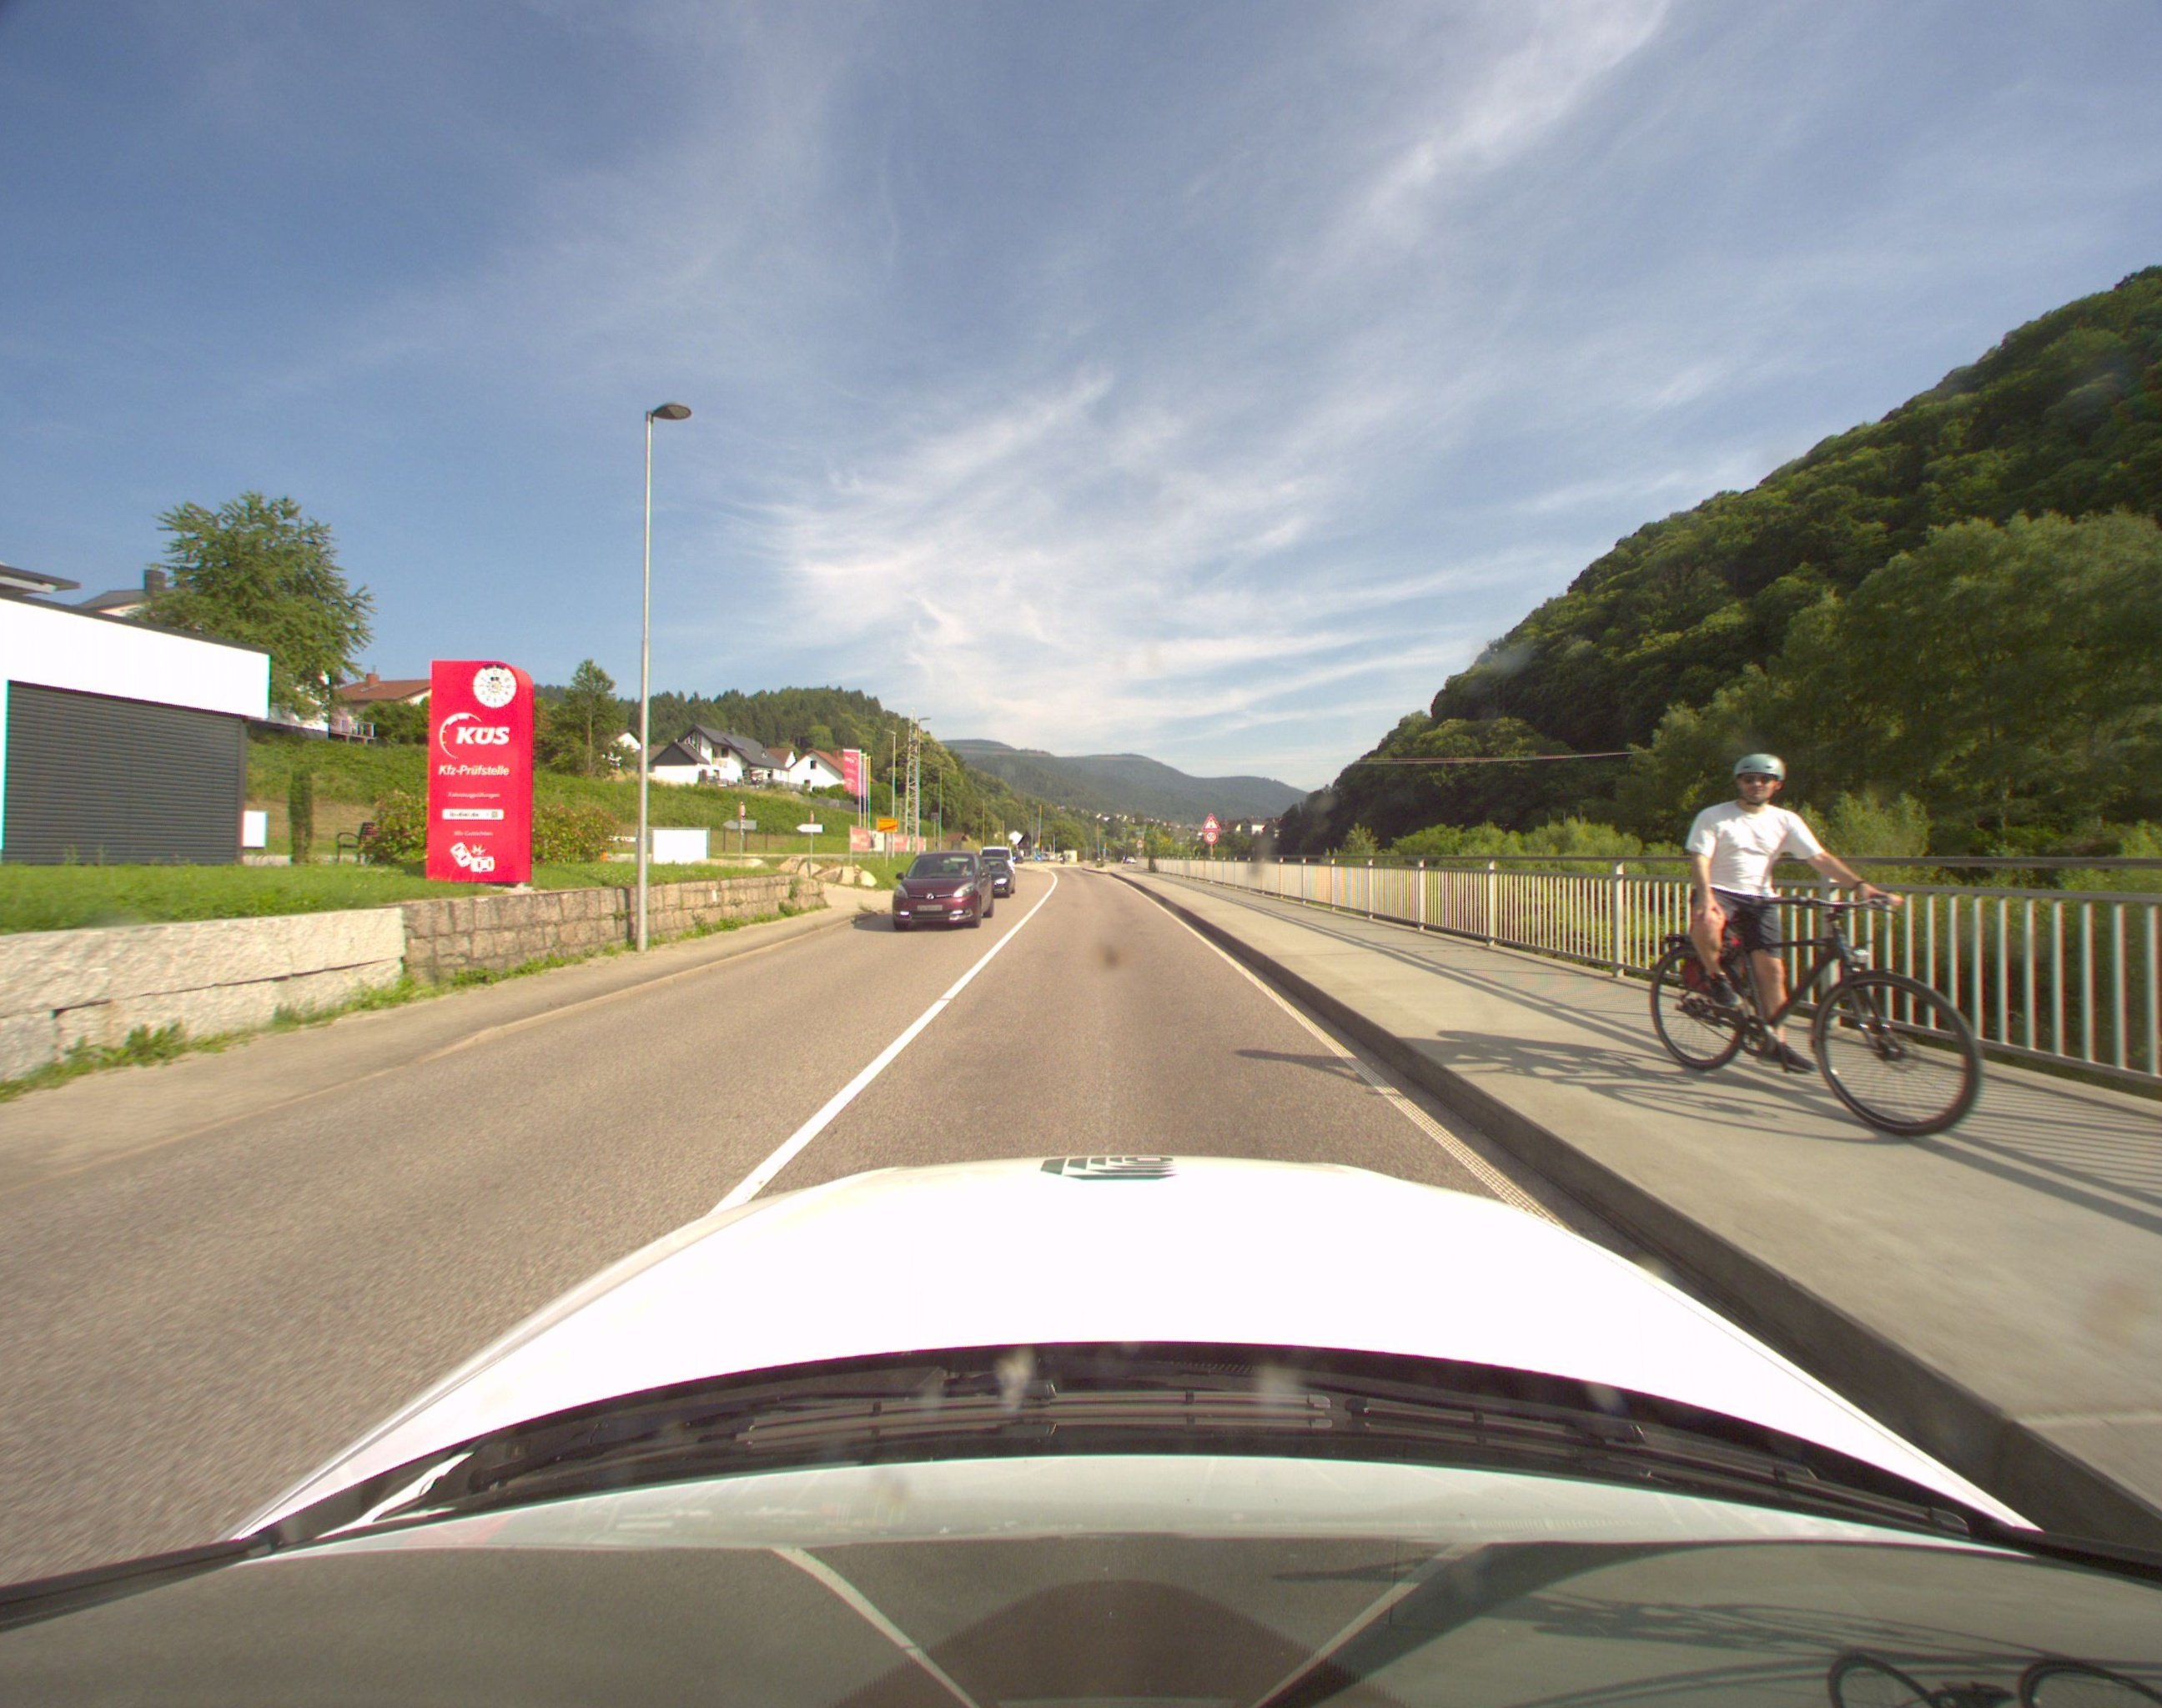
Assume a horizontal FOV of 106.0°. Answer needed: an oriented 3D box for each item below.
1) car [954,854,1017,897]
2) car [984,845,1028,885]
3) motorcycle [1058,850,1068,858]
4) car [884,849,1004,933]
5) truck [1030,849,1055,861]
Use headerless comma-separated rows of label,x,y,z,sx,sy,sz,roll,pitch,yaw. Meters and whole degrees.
car,-3.373,0.737,29.530,1.768,1.399,4.233,-1,0,0
car,-3.808,0.532,41.964,1.891,1.887,5.291,-2,0,-2
motorcycle,-2.631,-0.001,119.070,0.895,1.183,2.296,1,0,-13
car,-2.927,0.723,18.363,1.790,1.618,4.464,-1,0,2
truck,-8.358,0.273,175.842,5.929,2.266,2.012,4,3,44
